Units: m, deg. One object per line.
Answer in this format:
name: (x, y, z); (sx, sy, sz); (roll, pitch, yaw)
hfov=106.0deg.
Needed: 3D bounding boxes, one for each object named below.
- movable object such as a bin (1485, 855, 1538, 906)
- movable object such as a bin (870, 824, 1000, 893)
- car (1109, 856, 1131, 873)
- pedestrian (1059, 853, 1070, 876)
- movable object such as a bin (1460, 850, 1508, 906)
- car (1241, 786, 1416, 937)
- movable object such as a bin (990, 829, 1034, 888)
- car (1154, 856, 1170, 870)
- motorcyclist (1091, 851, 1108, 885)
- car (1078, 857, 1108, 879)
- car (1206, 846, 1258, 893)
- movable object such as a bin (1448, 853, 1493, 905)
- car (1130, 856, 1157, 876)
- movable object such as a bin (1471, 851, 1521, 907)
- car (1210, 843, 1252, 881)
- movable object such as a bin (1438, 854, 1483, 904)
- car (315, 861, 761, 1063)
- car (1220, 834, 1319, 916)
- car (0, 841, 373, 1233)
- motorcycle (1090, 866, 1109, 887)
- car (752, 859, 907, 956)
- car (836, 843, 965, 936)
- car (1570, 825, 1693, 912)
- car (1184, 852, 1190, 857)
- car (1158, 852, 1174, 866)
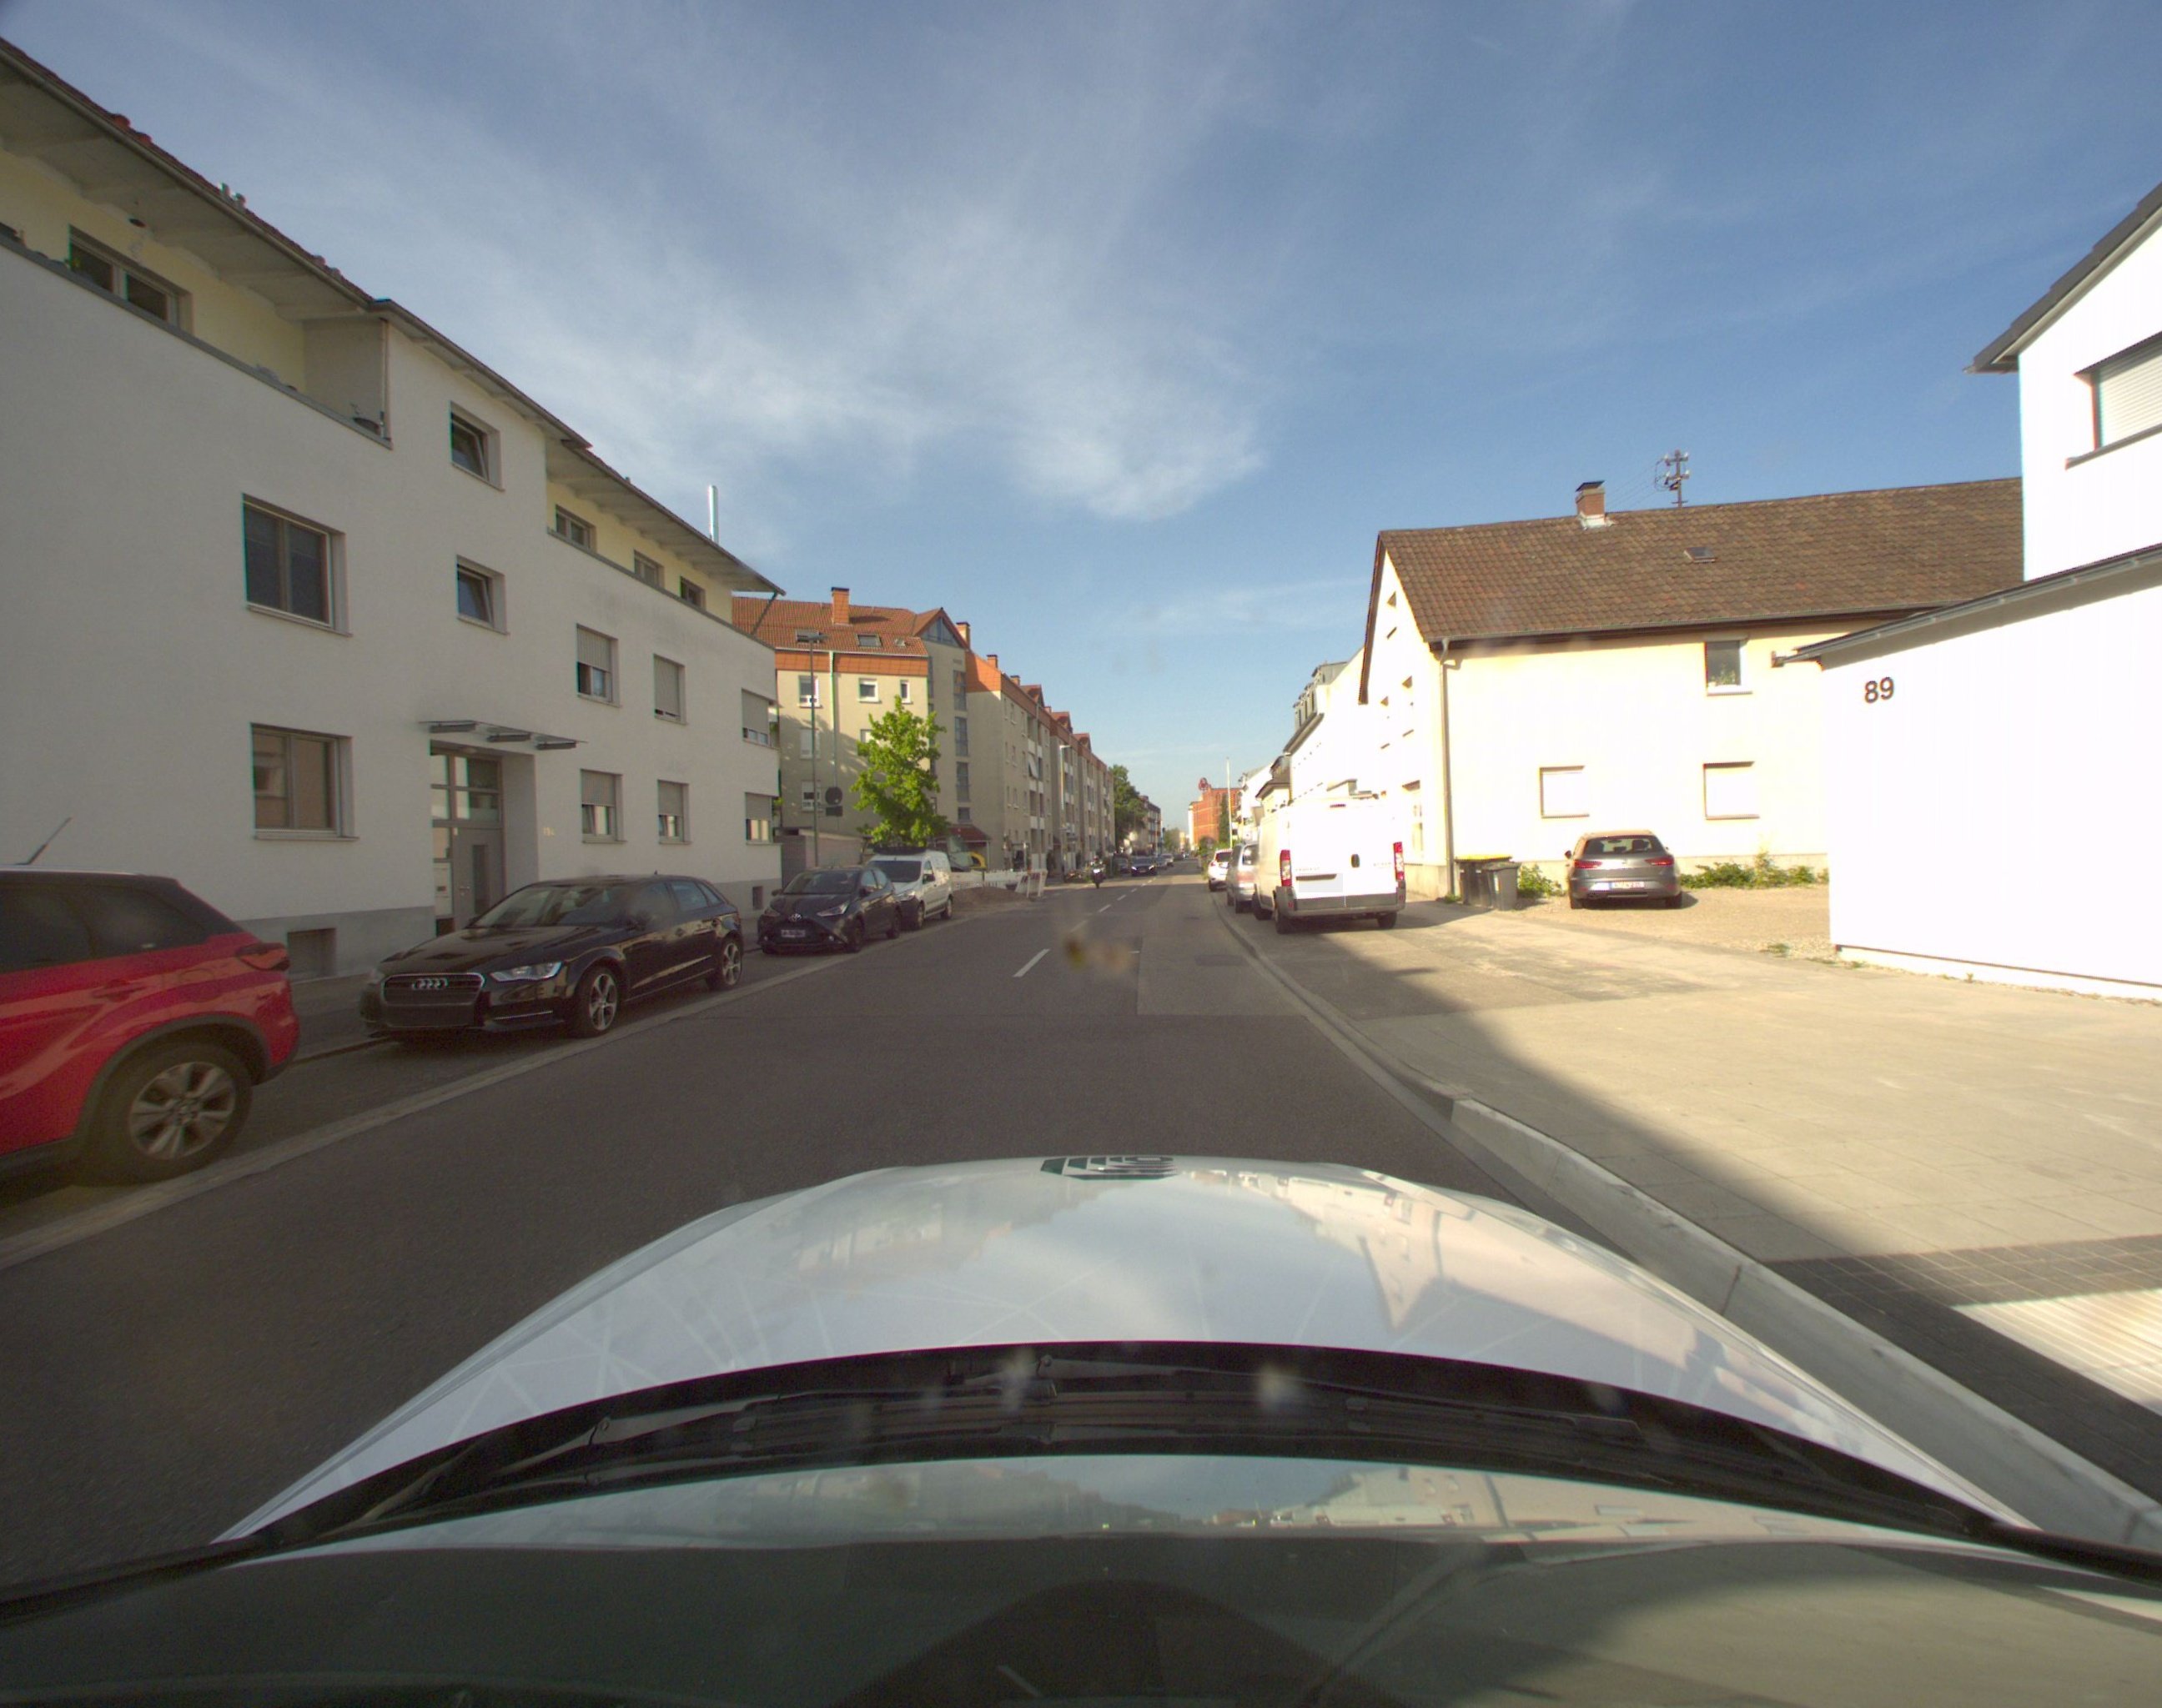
movable object such as a bin: (8.410, 0.502, 15.923); (0.724, 0.959, 0.554); (-2, 0, 5)
movable object such as a bin: (-6.404, 0.176, 36.261); (5.492, 2.900, 2.107); (-1, 0, -7)
car: (3.568, 0.917, 73.989); (1.677, 1.405, 4.092); (-1, 0, 7)
pedestrian: (-1.314, 0.846, 64.378); (0.714, 1.818, 0.747); (-1, 0, 8)
movable object such as a bin: (8.509, 0.498, 17.223); (0.724, 1.132, 0.554); (-2, -1, 5)
car: (4.494, 0.106, 15.692); (2.164, 2.327, 5.005); (-3, 0, 5)
movable object such as a bin: (-3.853, 0.230, 46.210); (1.639, 3.138, 3.907); (-2, 0, 6)
car: (8.943, 0.948, 89.850); (1.609, 1.455, 3.692); (-3, 0, 7)
motorcyclist: (0.908, 0.683, 39.891); (0.765, 1.652, 0.844); (-1, 0, 4)
car: (0.863, 0.926, 56.149); (1.632, 1.395, 3.678); (-3, 0, 6)
car: (6.145, 0.583, 33.605); (1.802, 1.683, 4.486); (-3, 0, 8)
movable object such as a bin: (8.547, 0.540, 17.875); (0.724, 1.093, 0.554); (-2, -1, 5)
car: (4.851, 0.921, 63.029); (1.820, 1.420, 4.217); (-2, 0, 7)
movable object such as a bin: (8.445, 0.503, 16.610); (0.724, 1.093, 0.554); (-2, -1, 5)
car: (8.190, 0.386, 44.535); (2.062, 1.856, 4.623); (-3, 0, 10)
movable object such as a bin: (8.600, 0.555, 18.485); (0.724, 1.093, 0.626); (-2, 0, 5)
car: (-5.065, 0.856, 8.474); (1.721, 1.478, 4.264); (-1, 0, 0)
car: (4.606, 0.462, 20.529); (1.769, 1.741, 4.490); (-3, 0, 5)
car: (-5.355, 0.788, 2.970); (1.721, 1.622, 4.264); (-2, 0, 1)
motorcycle: (0.909, 1.087, 39.924); (0.764, 0.985, 2.202); (-1, 0, 5)
car: (-4.372, 0.861, 14.668); (1.486, 1.465, 3.517); (-1, 0, 3)
car: (-4.189, 0.750, 19.640); (1.719, 1.960, 4.445); (-1, 0, 5)
car: (10.439, 0.211, 15.674); (1.640, 1.407, 4.004); (-3, 0, 30)
car: (33.803, 0.219, 259.236); (1.753, 1.616, 4.009); (-3, 0, 8)
car: (11.532, 0.663, 110.341); (1.912, 1.767, 4.346); (-2, 0, 7)
